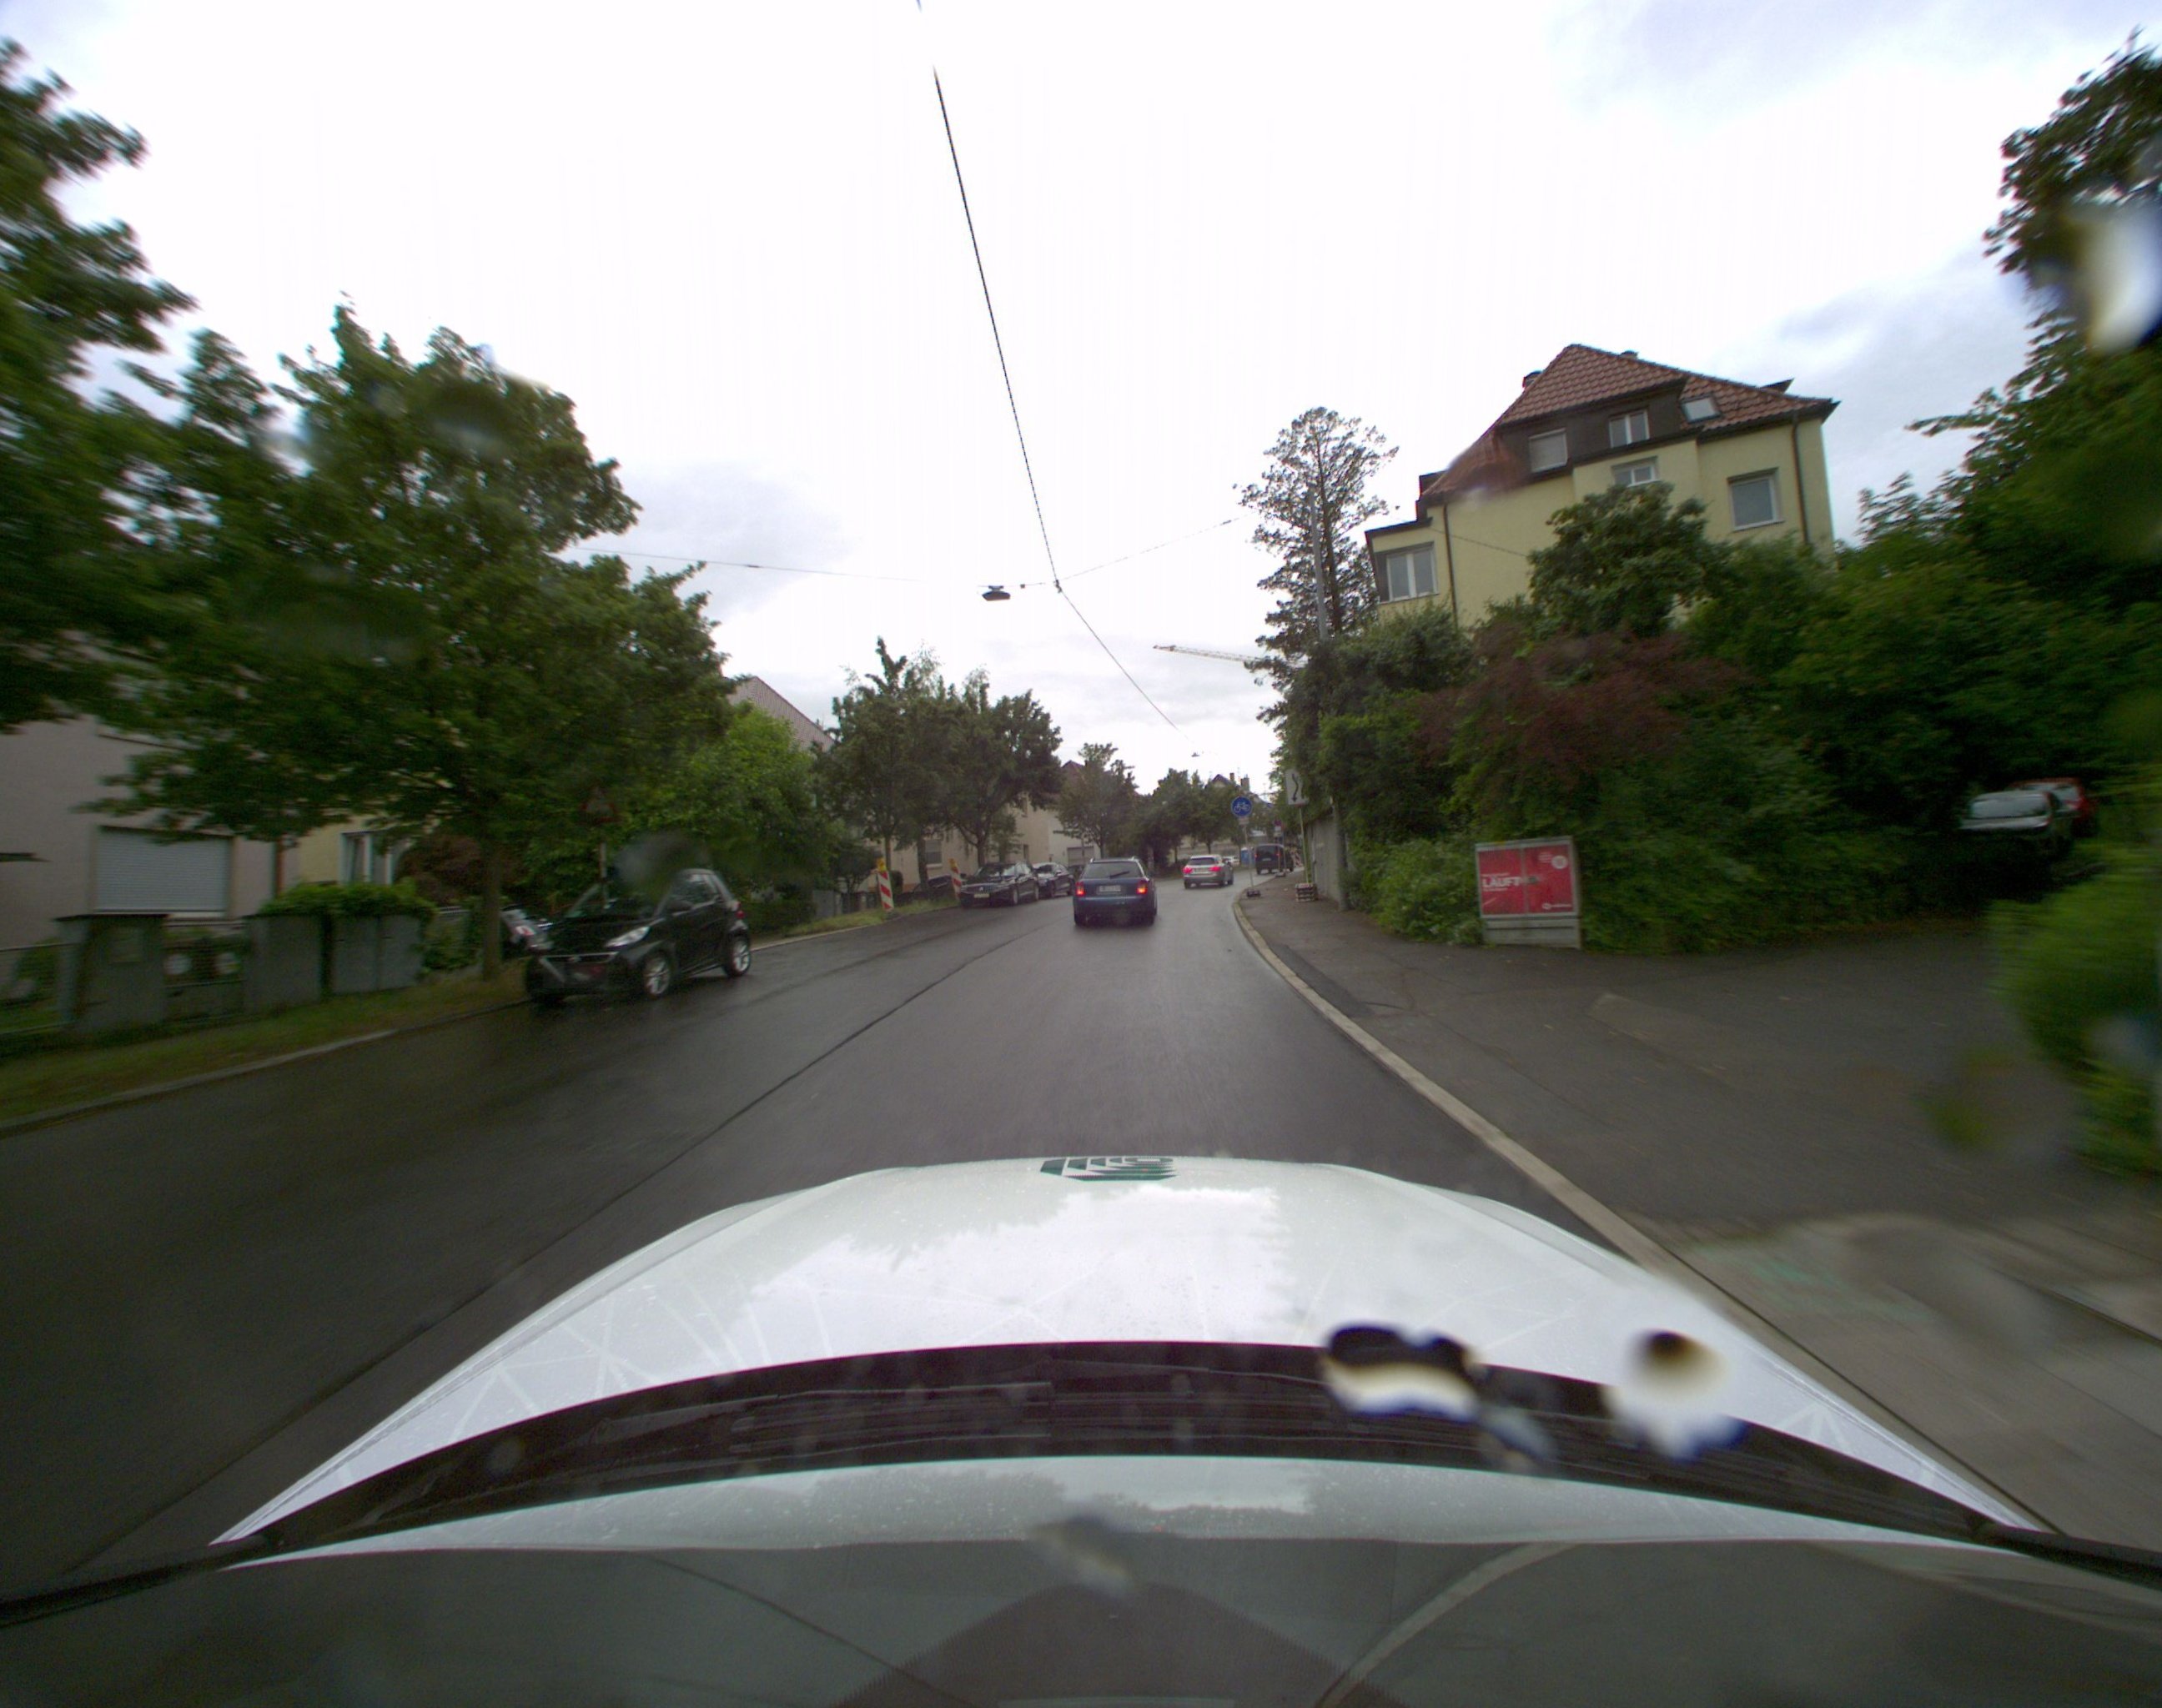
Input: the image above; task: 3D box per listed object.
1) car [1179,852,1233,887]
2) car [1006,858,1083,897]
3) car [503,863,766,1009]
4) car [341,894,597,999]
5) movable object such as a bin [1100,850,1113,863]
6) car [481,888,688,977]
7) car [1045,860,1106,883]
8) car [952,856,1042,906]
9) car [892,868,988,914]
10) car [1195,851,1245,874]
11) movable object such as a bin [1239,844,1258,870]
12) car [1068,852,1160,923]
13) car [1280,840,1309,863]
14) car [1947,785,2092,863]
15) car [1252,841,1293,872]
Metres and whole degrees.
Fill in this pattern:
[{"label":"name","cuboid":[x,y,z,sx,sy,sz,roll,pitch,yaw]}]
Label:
[{"label":"car","cuboid":[5.777,0.664,37.170,1.895,1.388,4.368,-4,-1,15]},{"label":"car","cuboid":[-1.404,0.910,33.357,1.693,1.382,4.549,-3,-1,16]},{"label":"car","cuboid":[-5.563,0.936,10.578,1.511,1.535,3.040,-3,0,4]},{"label":"car","cuboid":[-12.411,1.847,16.642,3.896,1.360,1.832,-10,-2,8]},{"label":"movable object such as a bin","cuboid":[1.835,0.200,58.833,0.663,0.921,0.595,-3,0,26]},{"label":"car","cuboid":[-11.990,1.881,19.780,3.896,1.394,1.783,-10,-2,8]},{"label":"car","cuboid":[-0.397,1.272,57.837,3.904,1.543,1.875,-1,0,25]},{"label":"car","cuboid":[-2.741,0.857,27.754,1.721,1.484,4.544,-3,-1,11]},{"label":"car","cuboid":[-7.061,1.837,40.625,4.200,1.504,1.925,-12,-5,25]},{"label":"car","cuboid":[13.355,0.840,78.277,4.157,1.604,1.962,-9,-4,27]},{"label":"movable object such as a bin","cuboid":[17.006,0.329,82.671,1.300,2.505,1.395,-6,-2,29]},{"label":"car","cuboid":[0.869,0.701,18.777,1.767,1.439,4.008,-1,0,7]},{"label":"car","cuboid":[16.399,-0.160,62.419,1.705,1.660,3.733,-1,-1,21]},{"label":"car","cuboid":[21.845,-0.732,19.108,1.852,1.459,3.751,-3,4,44]},{"label":"car","cuboid":[12.221,0.144,51.757,1.715,1.894,4.078,-2,0,25]}]
